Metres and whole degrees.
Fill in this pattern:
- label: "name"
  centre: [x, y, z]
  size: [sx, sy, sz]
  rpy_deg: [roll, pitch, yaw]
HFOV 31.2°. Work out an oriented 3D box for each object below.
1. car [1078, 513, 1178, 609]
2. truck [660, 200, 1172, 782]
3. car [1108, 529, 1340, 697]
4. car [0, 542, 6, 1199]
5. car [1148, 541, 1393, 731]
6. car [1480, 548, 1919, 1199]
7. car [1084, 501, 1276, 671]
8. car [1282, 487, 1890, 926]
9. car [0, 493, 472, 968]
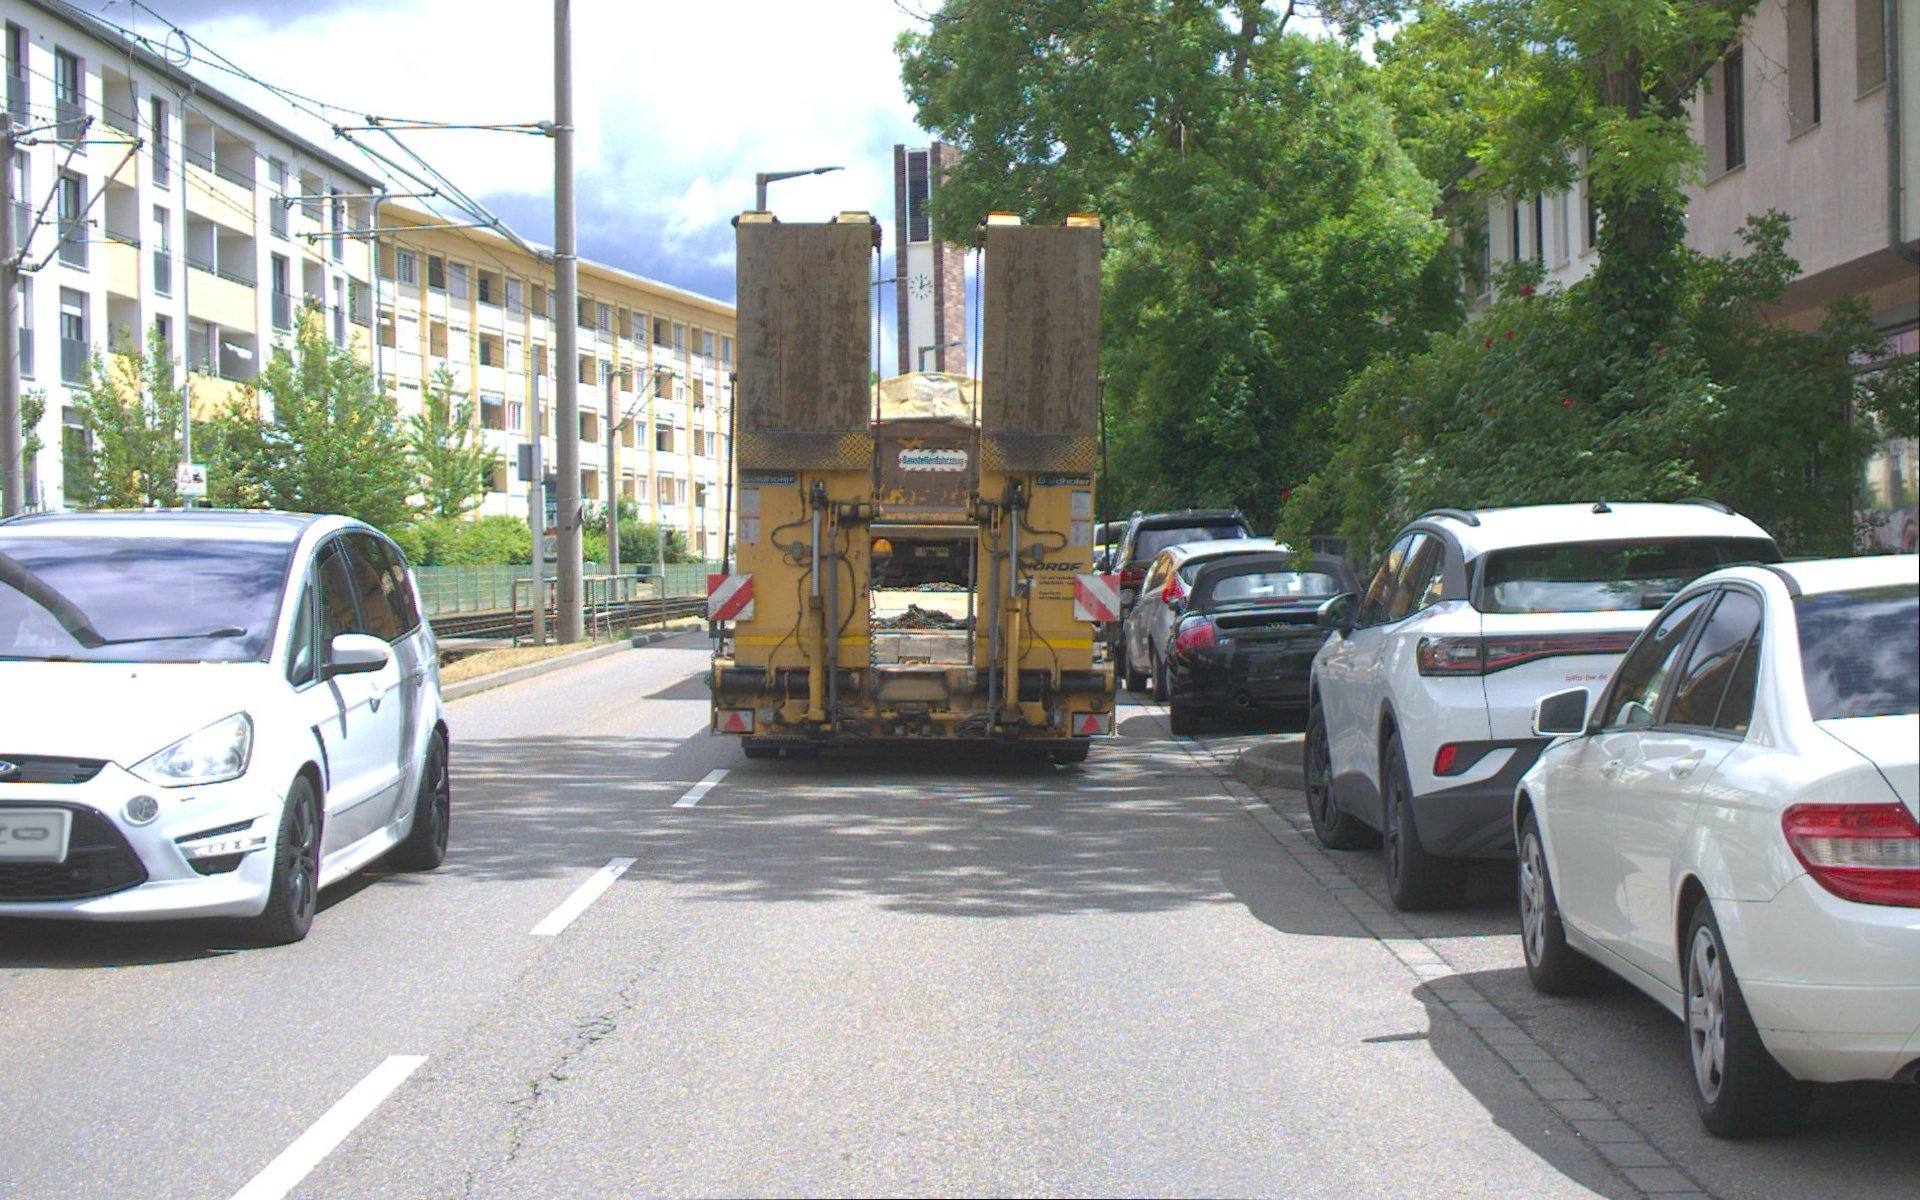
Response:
- label: "car"
  centre: [3.565, -0.851, 73.860]
  size: [1.914, 1.952, 5.745]
  rpy_deg: [-1, 1, 1]
- label: "truck"
  centre: [-0.338, -0.774, 27.285]
  size: [3.124, 3.552, 12.460]
  rpy_deg: [0, 1, -1]
- label: "car"
  centre: [2.488, 0.094, 33.223]
  size: [1.771, 1.437, 3.900]
  rpy_deg: [-3, 1, -1]
- label: "car"
  centre: [-2.902, 0.656, 4.848]
  size: [1.817, 1.497, 4.837]
  rpy_deg: [1, 1, -1]
- label: "car"
  centre: [2.479, 0.240, 27.839]
  size: [1.771, 1.345, 4.000]
  rpy_deg: [-3, 1, 4]
- label: "car"
  centre: [2.642, 0.575, 9.671]
  size: [1.725, 1.421, 4.446]
  rpy_deg: [-1, 1, 1]
- label: "car"
  centre: [2.459, -0.187, 39.539]
  size: [2.015, 1.782, 5.076]
  rpy_deg: [-1, 1, 2]
- label: "car"
  centre: [2.558, 0.362, 15.107]
  size: [1.837, 1.638, 4.430]
  rpy_deg: [0, 1, 0]
- label: "car"
  centre: [-3.236, 0.402, 14.011]
  size: [1.817, 1.608, 4.602]
  rpy_deg: [1, 1, 0]
